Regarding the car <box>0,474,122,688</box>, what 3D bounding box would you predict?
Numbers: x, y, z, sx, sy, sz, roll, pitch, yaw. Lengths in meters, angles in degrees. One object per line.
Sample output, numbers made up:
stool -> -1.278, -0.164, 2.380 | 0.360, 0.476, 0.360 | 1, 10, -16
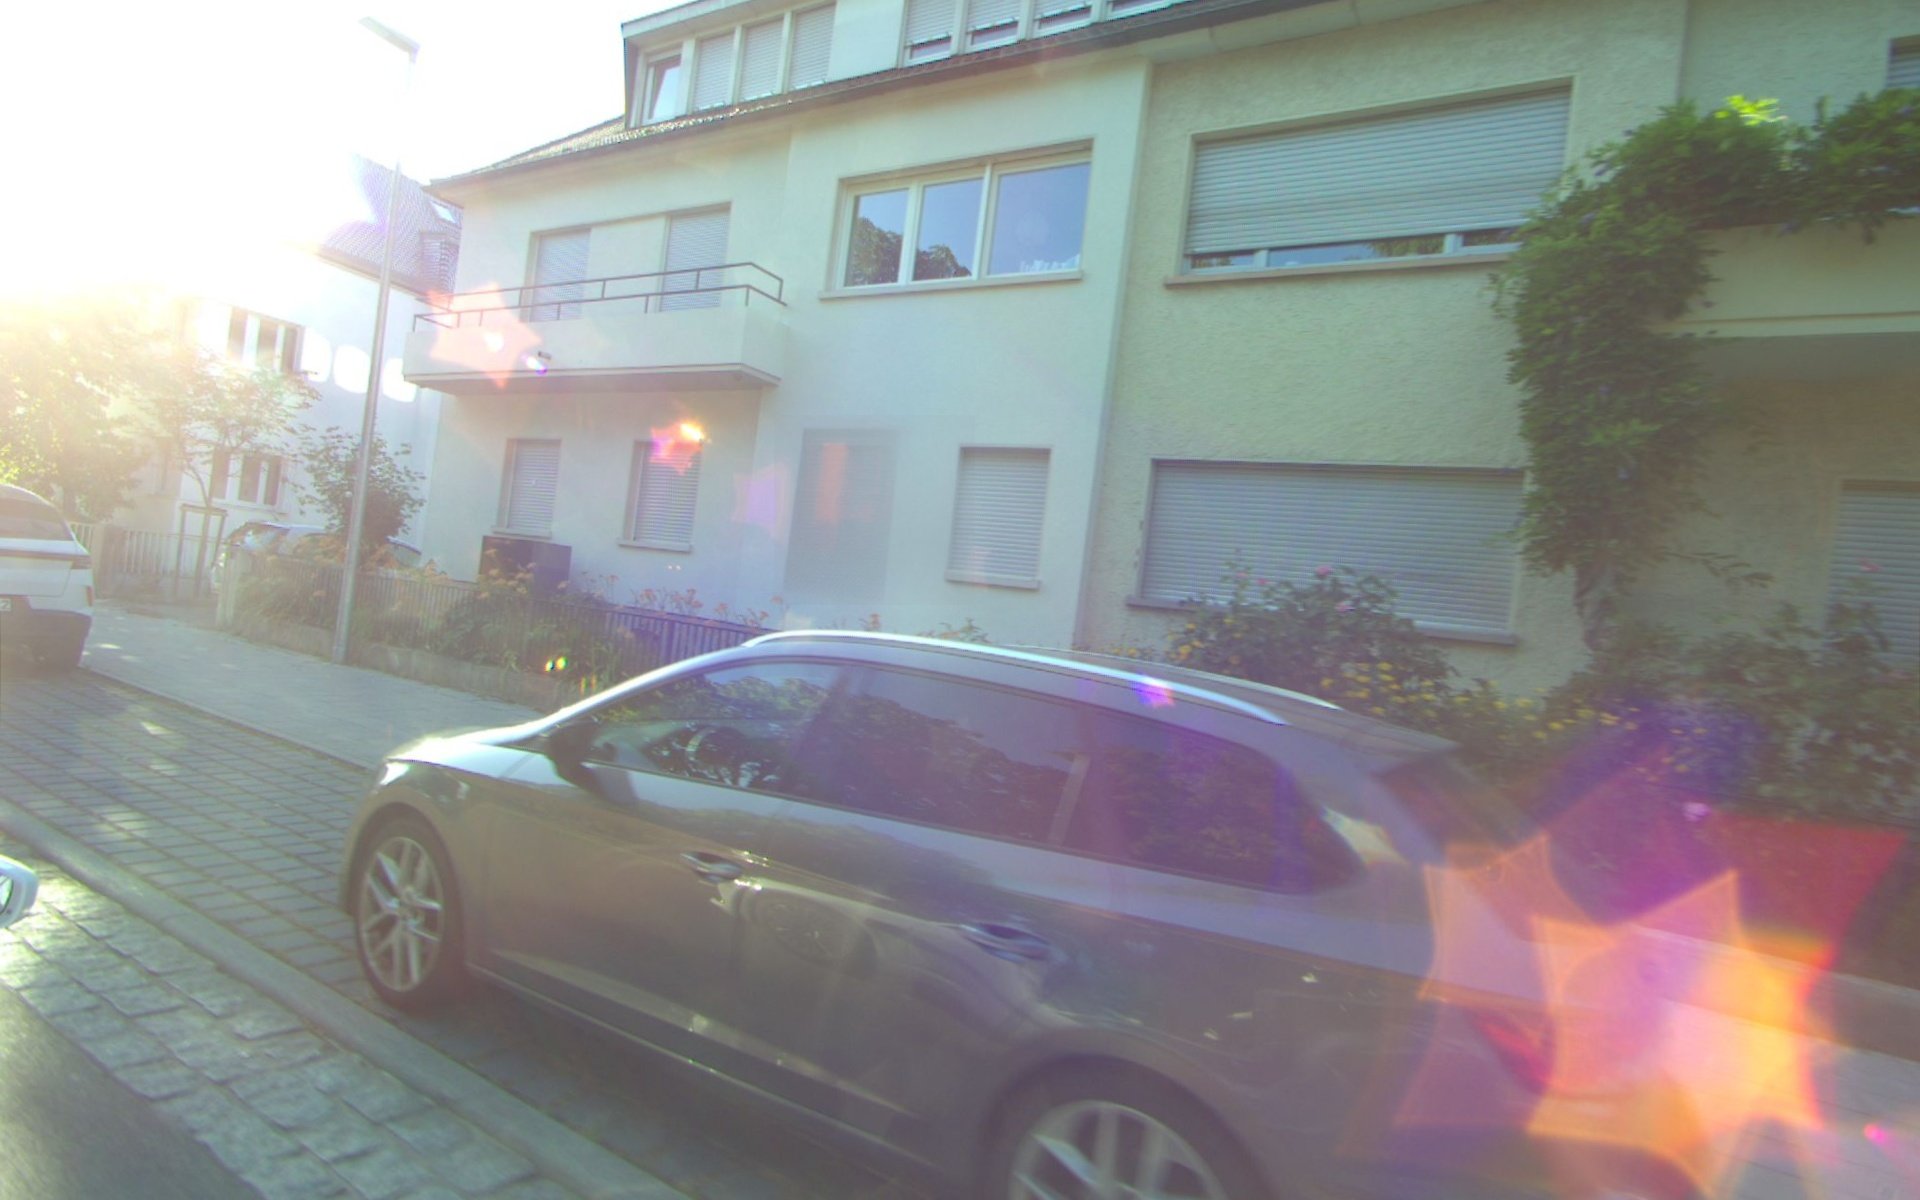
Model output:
car -> -9.753, -0.397, 9.218 | 4.501, 1.730, 1.906 | 7, 2, 33

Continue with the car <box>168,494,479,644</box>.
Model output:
car -> -10.733, -0.432, 17.311 | 1.783, 1.865, 3.997 | 8, -2, 26

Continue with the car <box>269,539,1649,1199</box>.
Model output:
car -> -0.304, 0.781, 3.418 | 4.124, 1.513, 1.795 | 7, 1, 32
